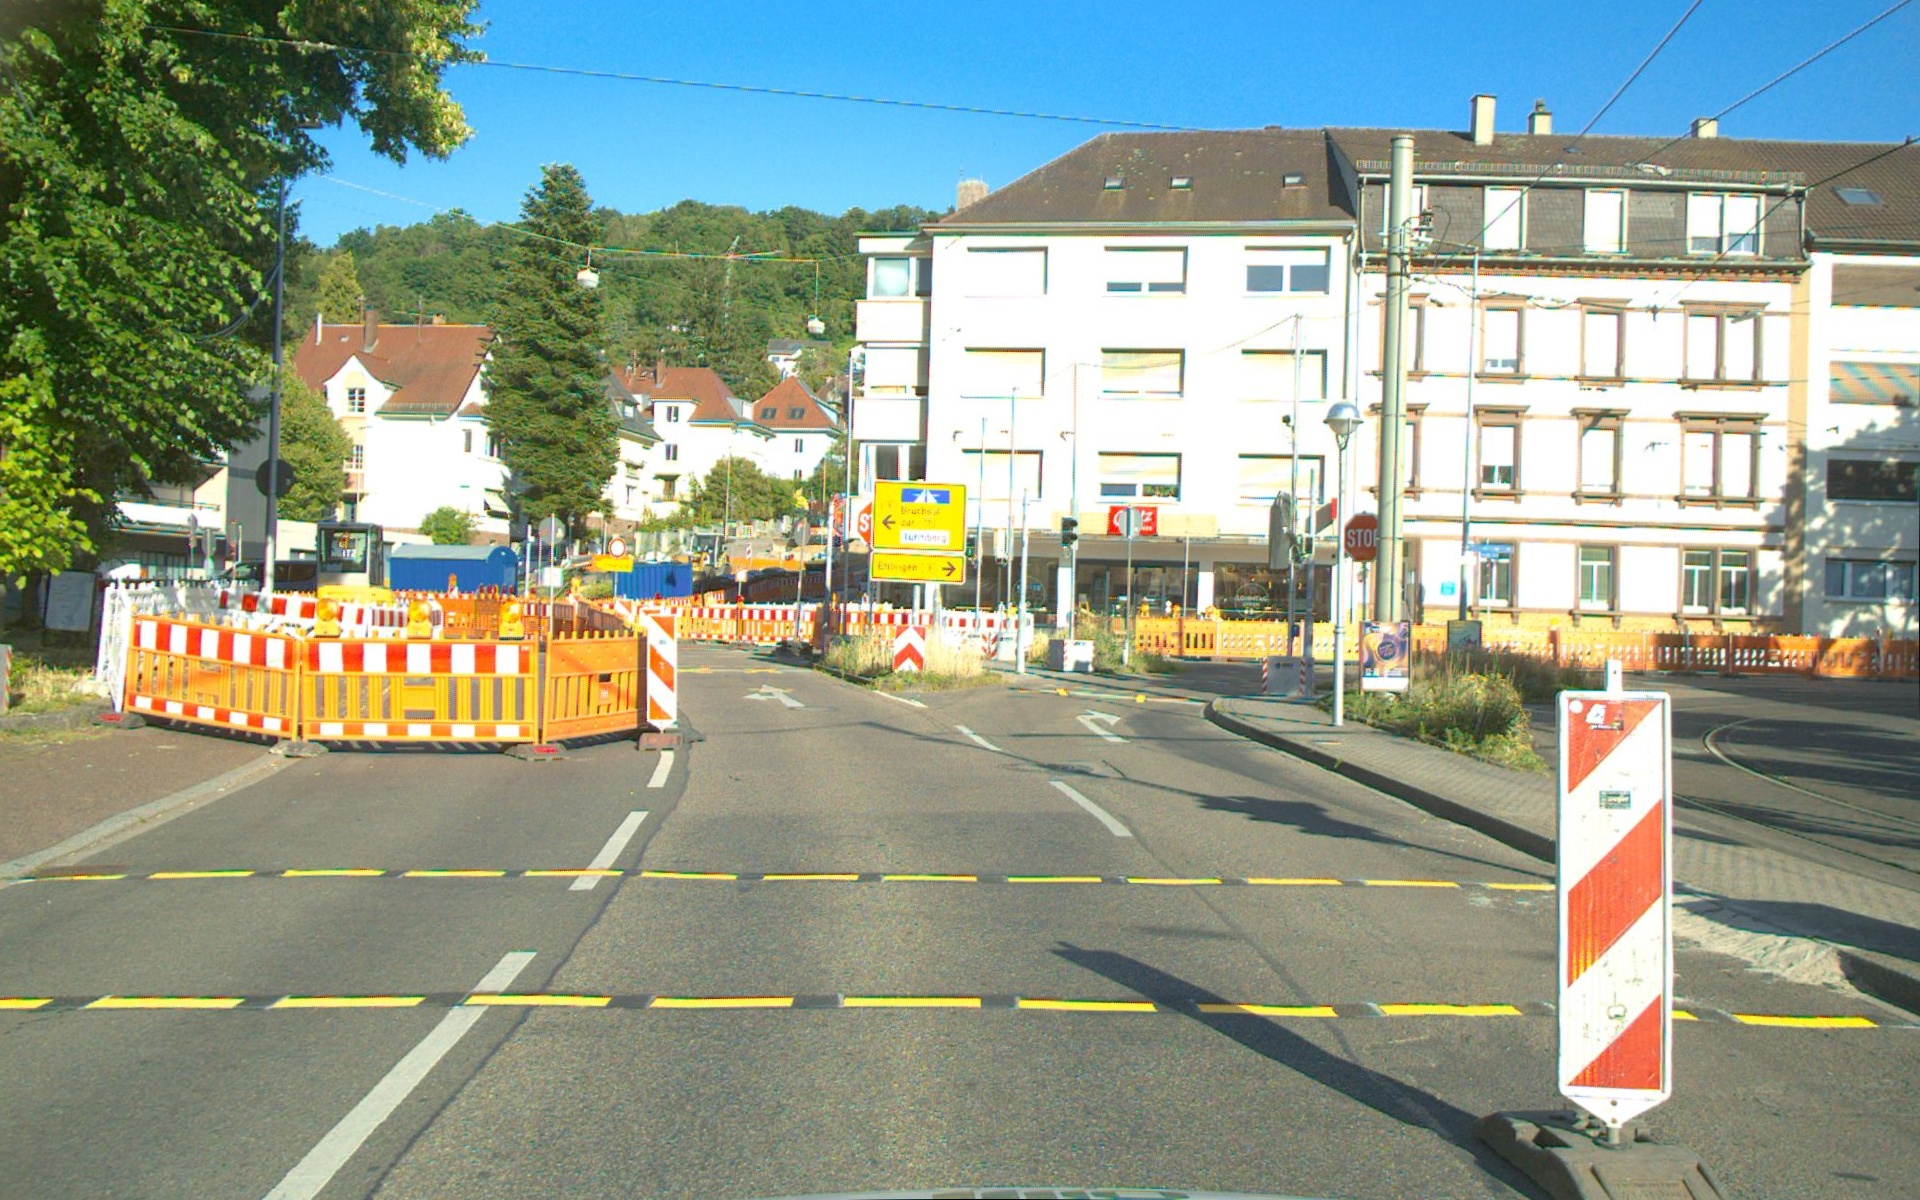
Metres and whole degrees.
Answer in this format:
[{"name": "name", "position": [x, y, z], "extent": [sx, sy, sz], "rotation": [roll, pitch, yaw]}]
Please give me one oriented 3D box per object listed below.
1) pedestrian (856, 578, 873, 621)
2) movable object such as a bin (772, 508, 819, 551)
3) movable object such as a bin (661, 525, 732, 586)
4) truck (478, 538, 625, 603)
[{"name": "pedestrian", "position": [-3.990, -0.021, 68.800], "extent": [0.627, 1.791, 0.718], "rotation": [1, 0, -1]}, {"name": "movable object such as a bin", "position": [-11.276, -4.835, 113.651], "extent": [2.144, 2.737, 4.003], "rotation": [1, 0, 9]}, {"name": "movable object such as a bin", "position": [-12.548, -2.104, 79.035], "extent": [2.144, 2.737, 4.003], "rotation": [1, 0, 9]}, {"name": "truck", "position": [-16.707, -1.142, 68.418], "extent": [2.306, 2.458, 9.159], "rotation": [1, 0, 10]}]
